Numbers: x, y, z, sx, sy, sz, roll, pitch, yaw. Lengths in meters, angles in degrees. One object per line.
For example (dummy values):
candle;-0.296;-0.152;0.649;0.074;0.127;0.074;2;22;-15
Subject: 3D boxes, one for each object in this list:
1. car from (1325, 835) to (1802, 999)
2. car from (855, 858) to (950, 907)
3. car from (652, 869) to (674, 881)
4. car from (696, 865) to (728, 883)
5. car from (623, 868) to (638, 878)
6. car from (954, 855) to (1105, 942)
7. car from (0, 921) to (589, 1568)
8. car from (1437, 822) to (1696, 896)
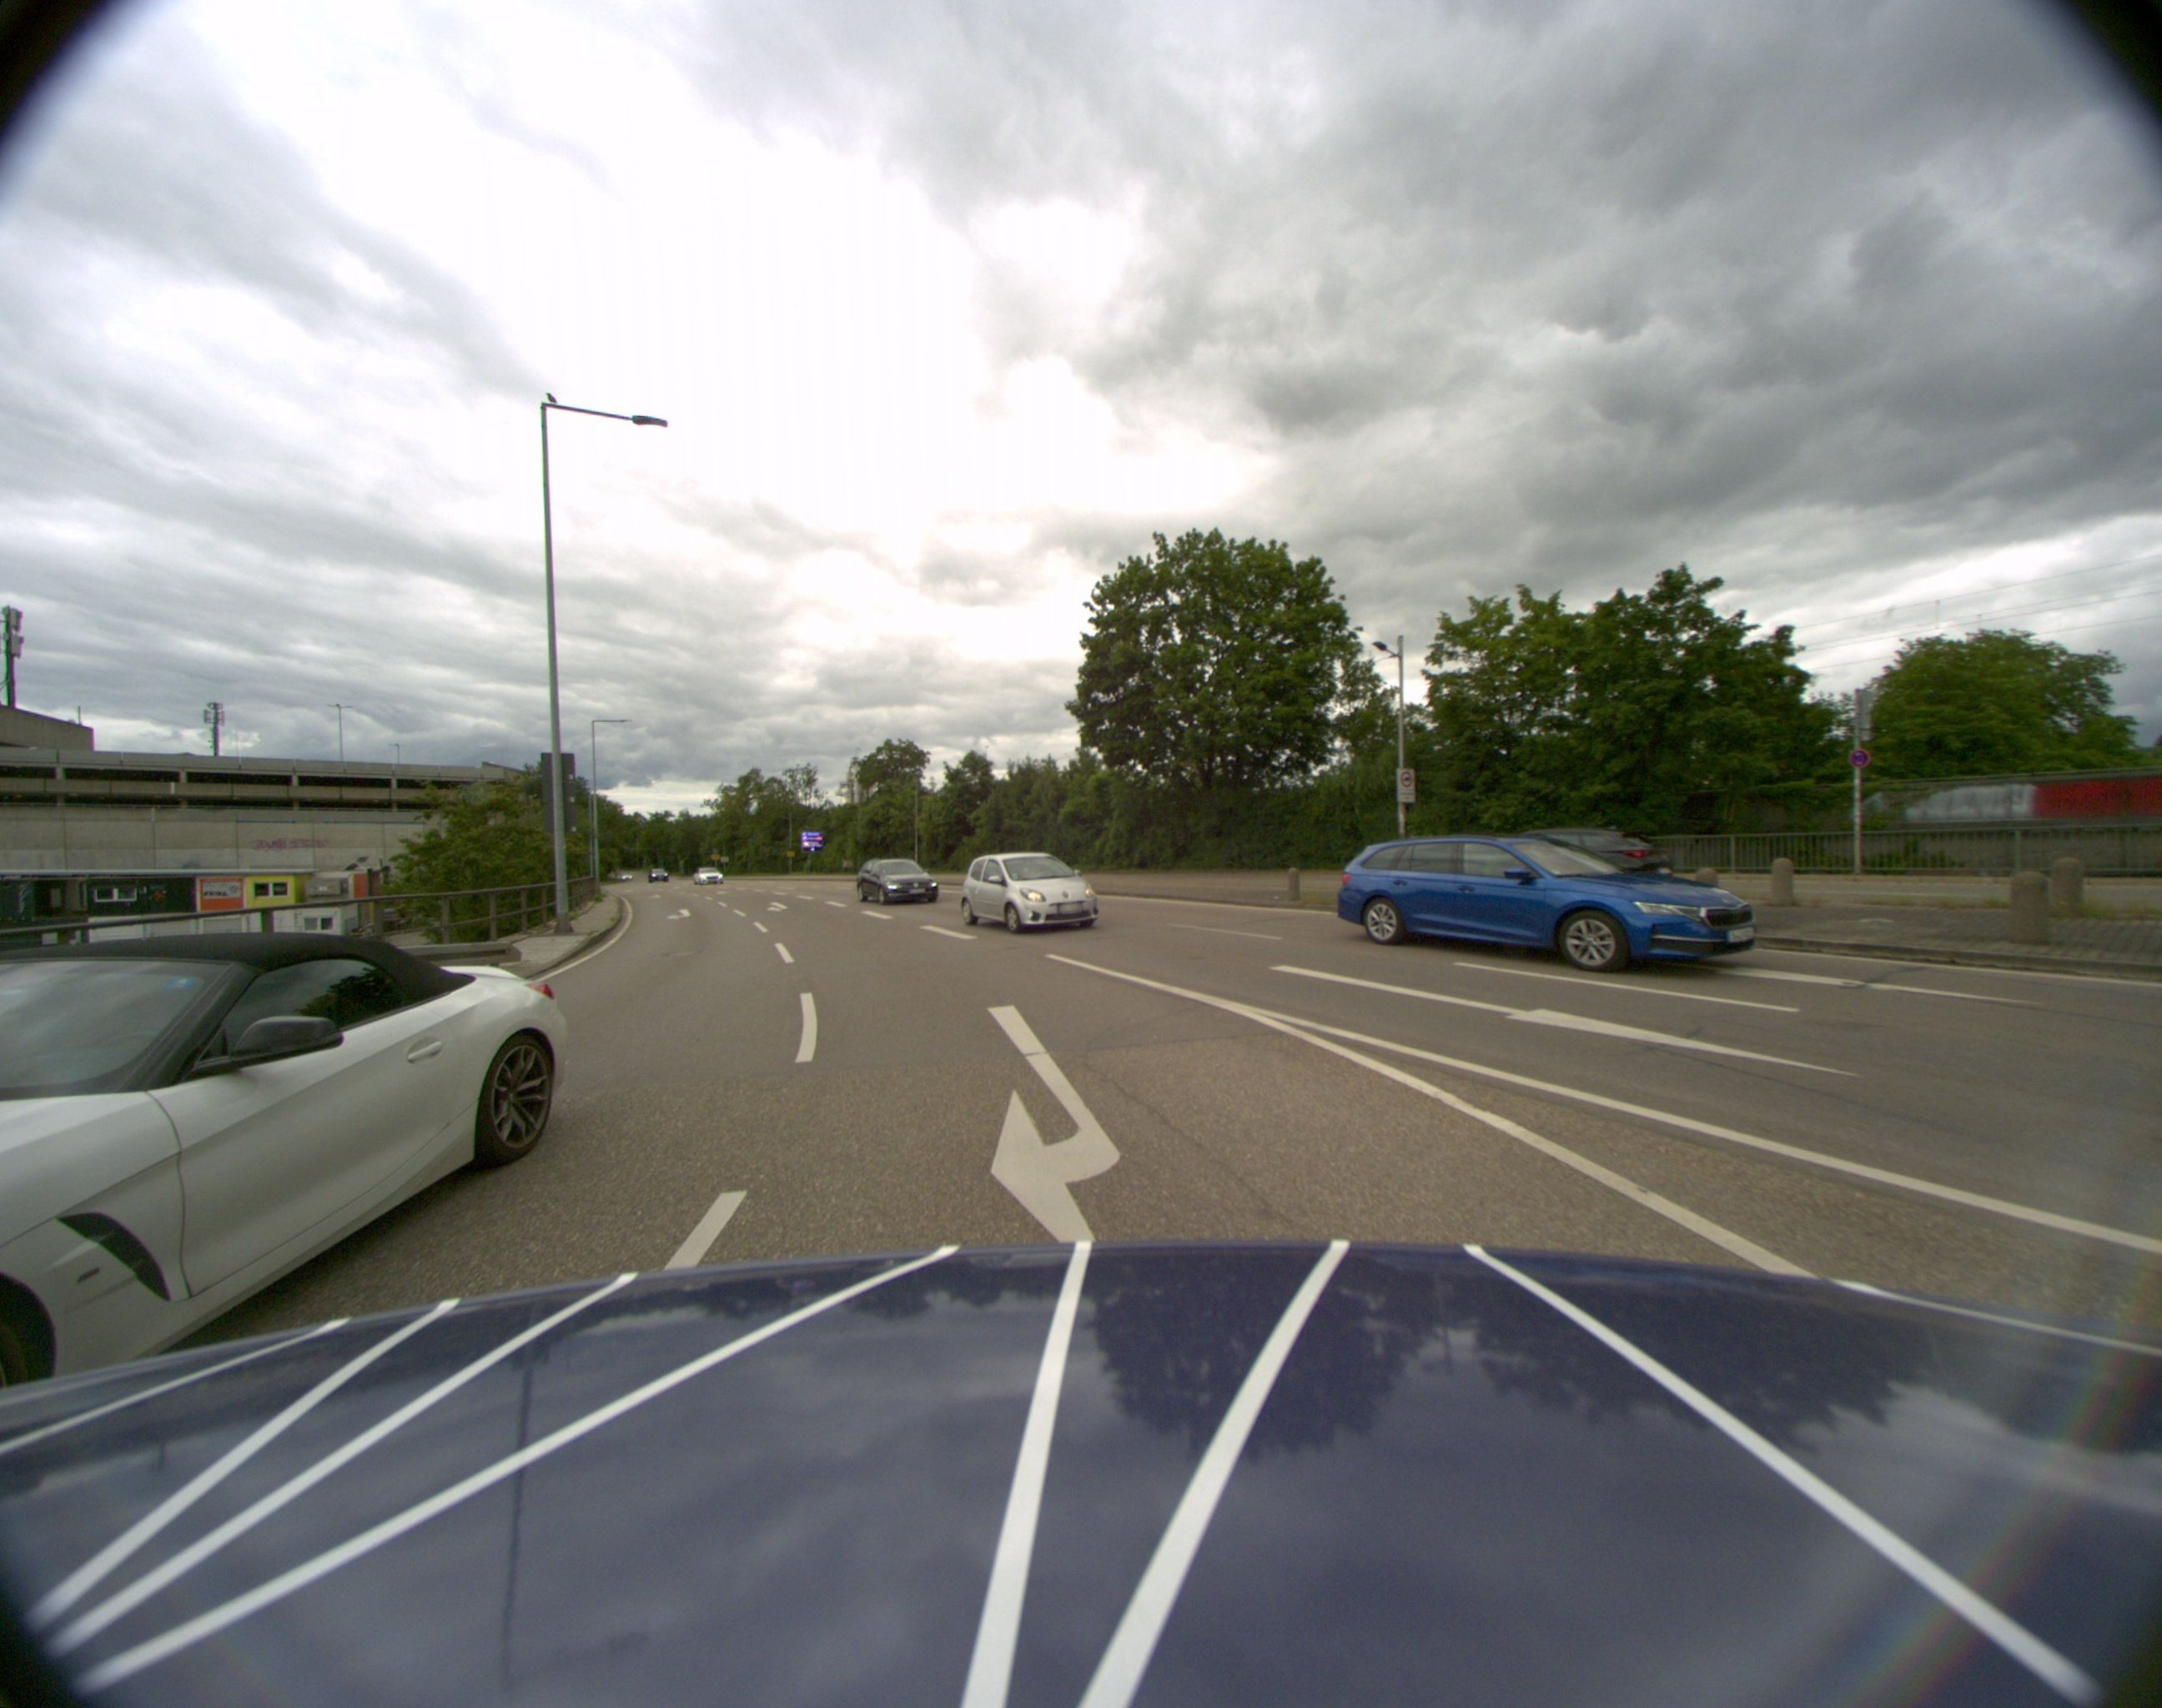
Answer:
car;5.359;0.576;9.236;1.846;1.408;4.570;-3;1;-26
car;-6.015;0.895;25.241;1.868;1.408;4.328;-3;1;-30
car;-51.827;2.612;94.136;1.869;1.408;4.327;-3;1;-34
car;-31.663;1.671;65.160;1.869;1.408;4.328;-3;1;-32
car;-86.640;3.663;146.085;2.003;1.696;3.990;-7;2;-38
car;-1.133;0.777;14.920;1.612;1.408;3.583;-3;1;-28
car;-3.662;1.124;2.465;1.811;1.284;4.259;-3;1;-9
car;10.984;0.123;17.488;1.959;1.449;4.608;-2;0;-39
